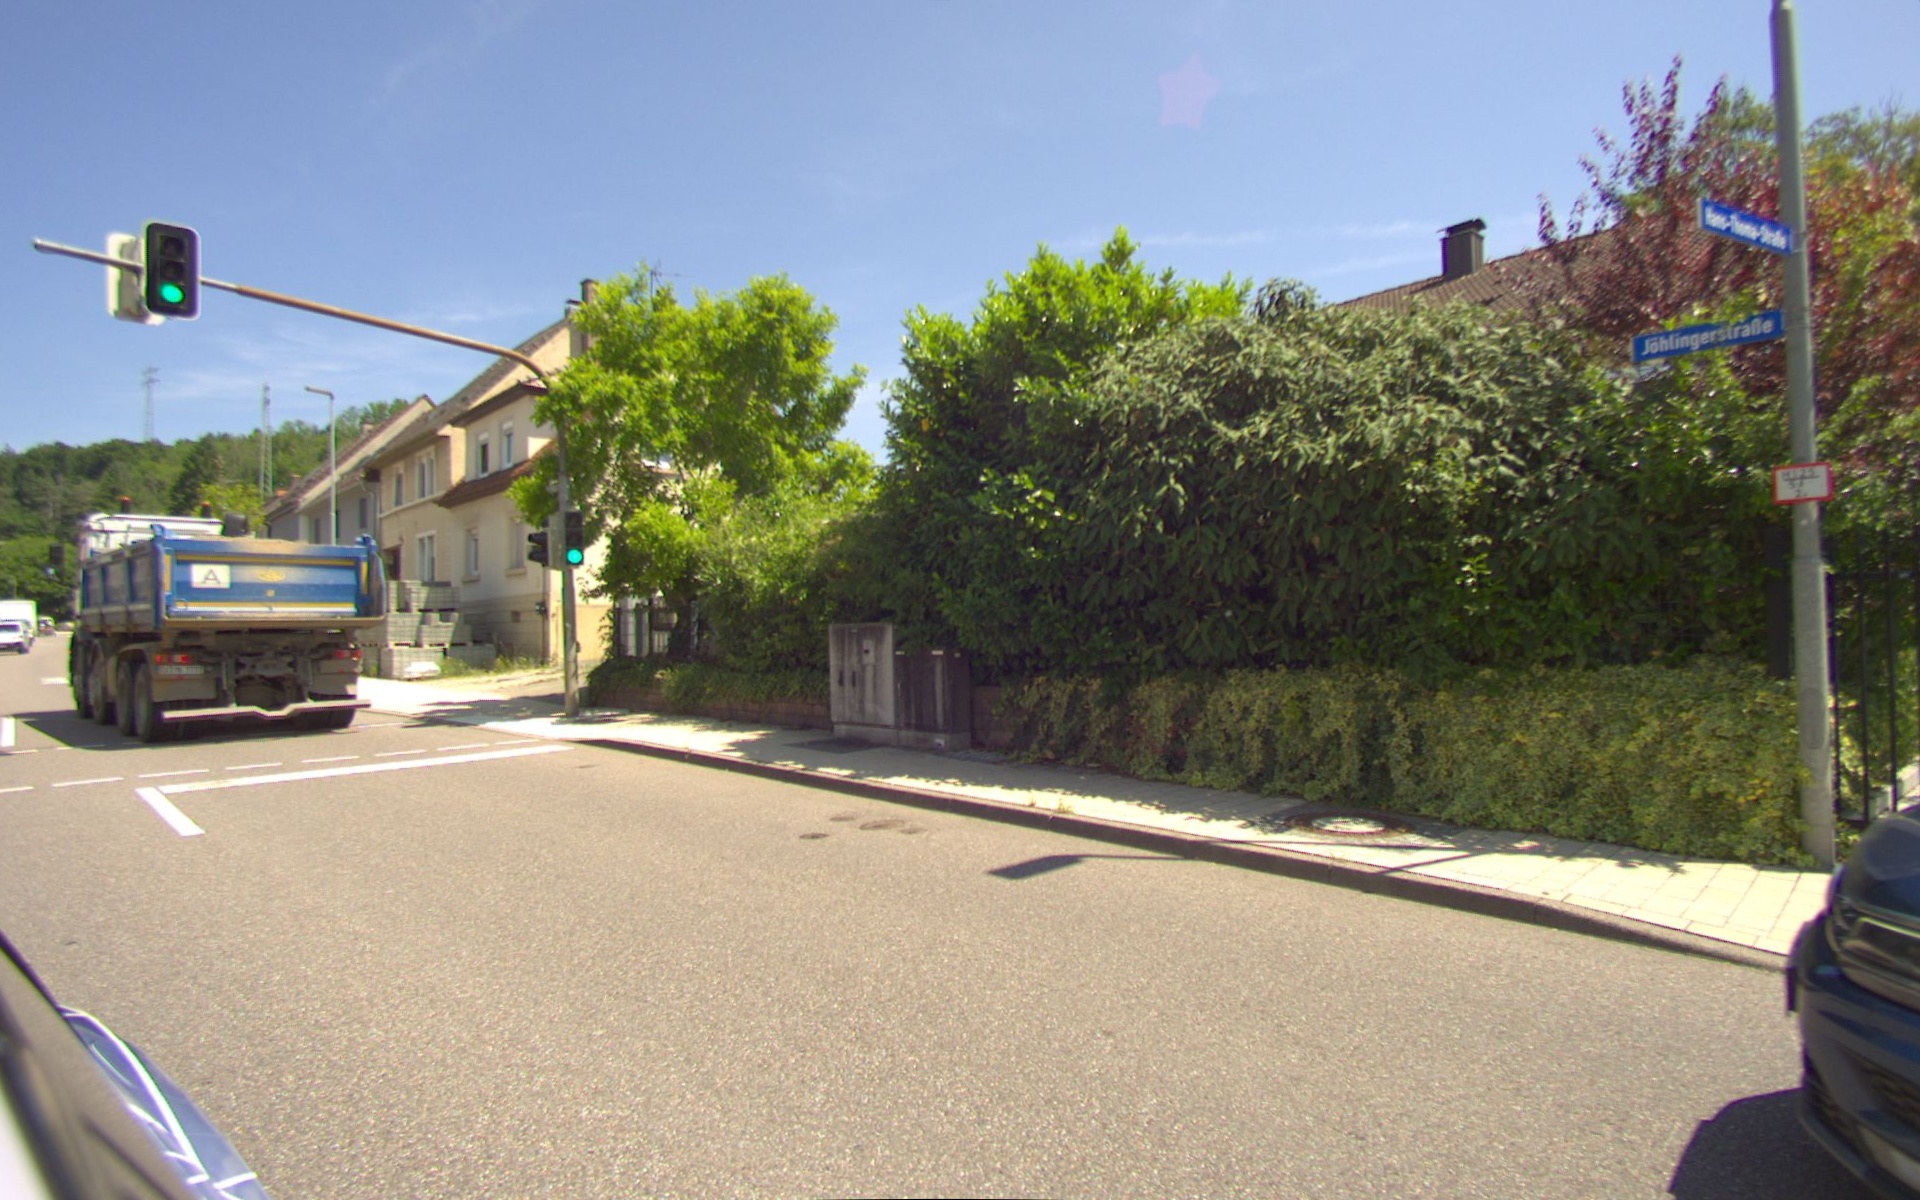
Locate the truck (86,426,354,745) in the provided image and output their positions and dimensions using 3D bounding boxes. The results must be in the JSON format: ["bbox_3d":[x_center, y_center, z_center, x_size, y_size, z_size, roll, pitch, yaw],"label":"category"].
[{"bbox_3d":[-12.001,-0.034,16.001,2.511,3.767,8.632,2,-3,-42],"label":"truck"}]

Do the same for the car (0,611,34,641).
[{"bbox_3d":[-72.725,1.971,77.873,1.957,2.199,4.006,-1,0,-40],"label":"car"}]

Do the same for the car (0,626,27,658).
[{"bbox_3d":[-56.015,2.463,59.162,1.971,1.739,4.002,-1,-1,-45],"label":"car"}]

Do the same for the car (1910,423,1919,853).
[{"bbox_3d":[3.945,0.515,0.794,4.615,1.658,1.867,-1,-3,45],"label":"car"}]

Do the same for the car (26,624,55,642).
[{"bbox_3d":[-112.133,3.997,123.448,2.336,2.016,5.180,-1,0,-40],"label":"car"}]
